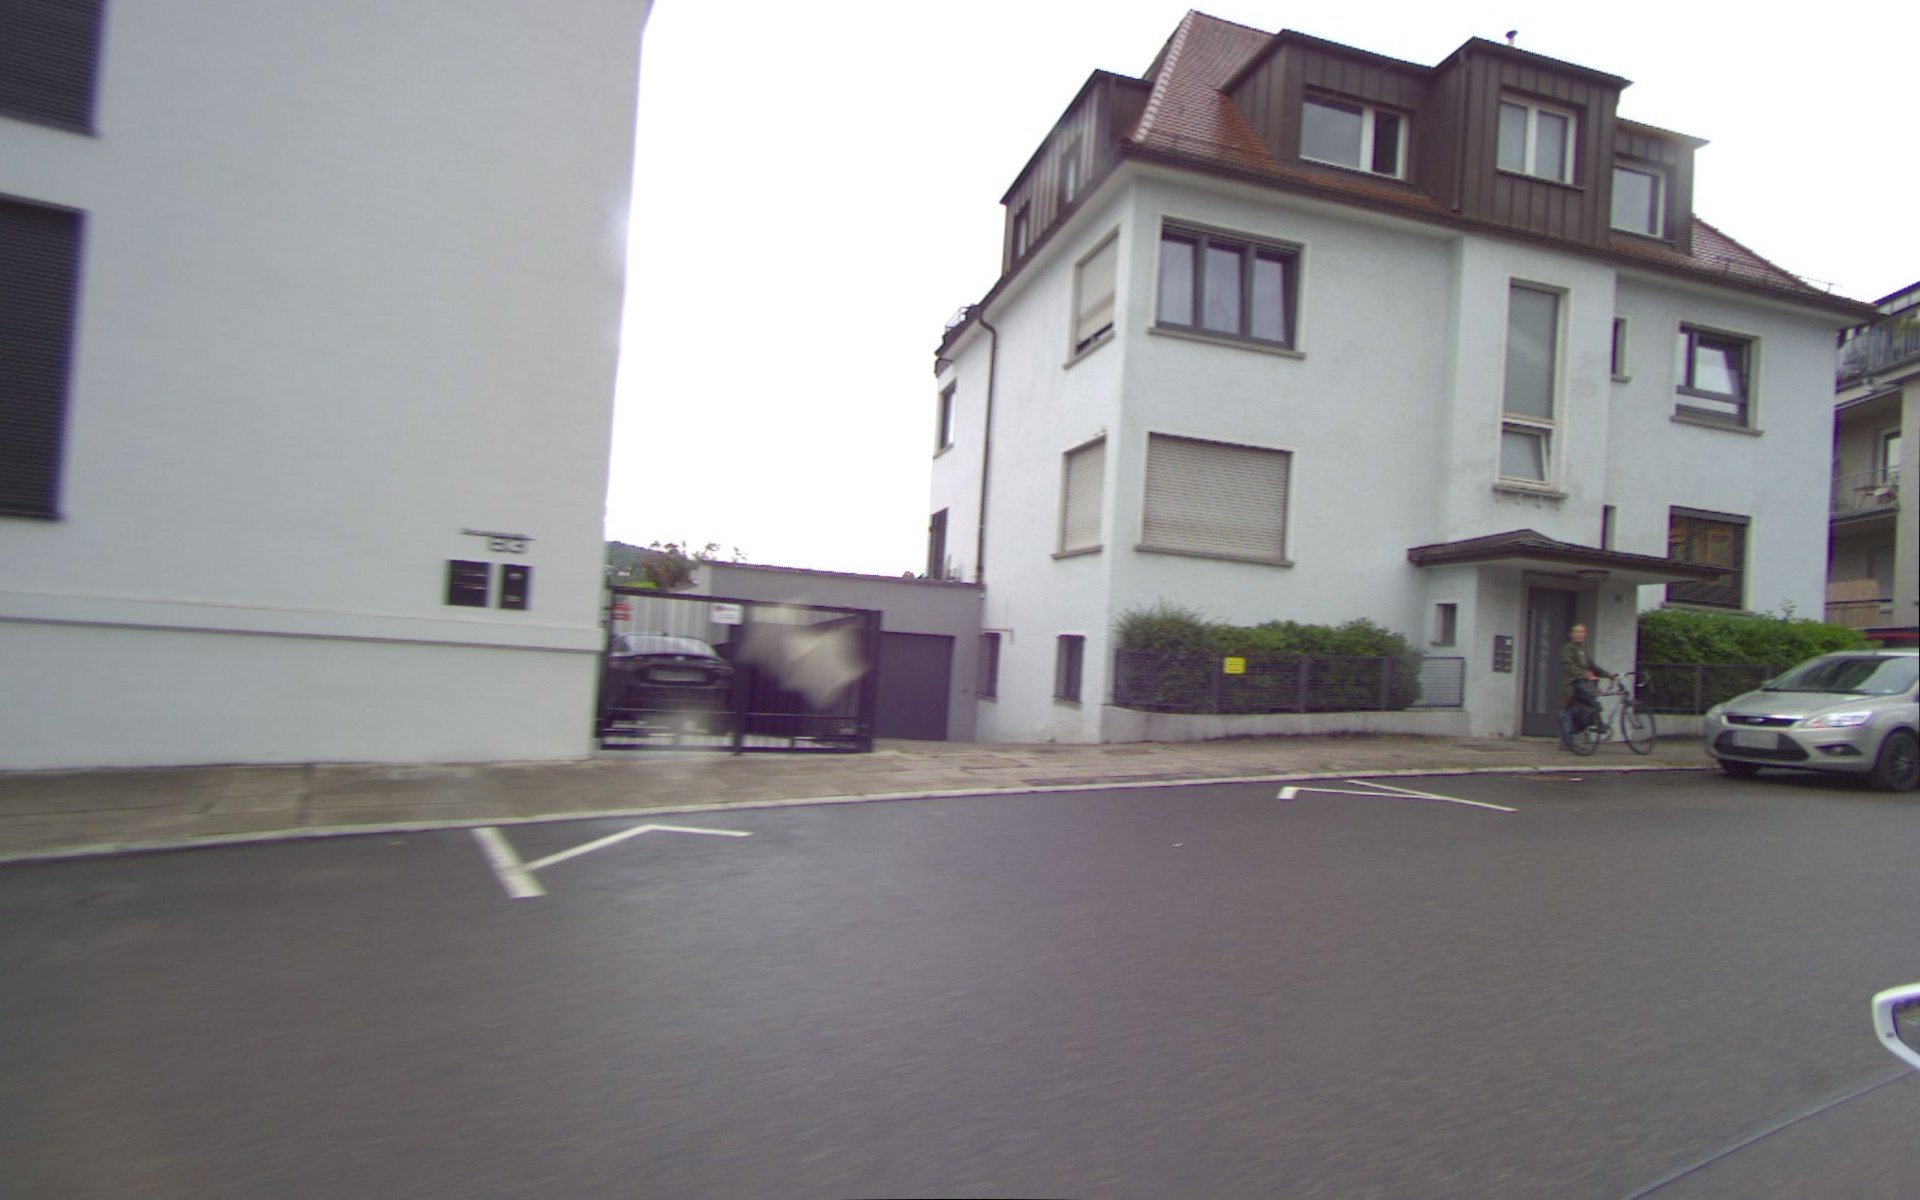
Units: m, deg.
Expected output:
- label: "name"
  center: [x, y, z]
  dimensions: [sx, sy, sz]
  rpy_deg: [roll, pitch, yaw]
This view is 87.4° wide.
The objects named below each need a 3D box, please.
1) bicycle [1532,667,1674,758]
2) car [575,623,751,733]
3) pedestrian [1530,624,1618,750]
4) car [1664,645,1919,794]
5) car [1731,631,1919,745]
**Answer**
- label: "bicycle"
  center: [8.171, 1.405, 12.748]
  dimensions: [1.892, 1.081, 0.455]
  rpy_deg: [1, 0, -20]
- label: "car"
  center: [-4.514, 1.244, 14.904]
  dimensions: [1.721, 1.369, 3.974]
  rpy_deg: [4, -8, -27]
- label: "pedestrian"
  center: [8.075, 1.124, 13.209]
  dimensions: [0.933, 1.598, 0.492]
  rpy_deg: [1, 0, -20]
- label: "car"
  center: [10.440, 1.272, 11.403]
  dimensions: [4.160, 1.444, 1.836]
  rpy_deg: [1, -2, -16]
- label: "car"
  center: [16.396, 1.567, 17.819]
  dimensions: [1.964, 1.846, 3.996]
  rpy_deg: [1, -5, -10]
